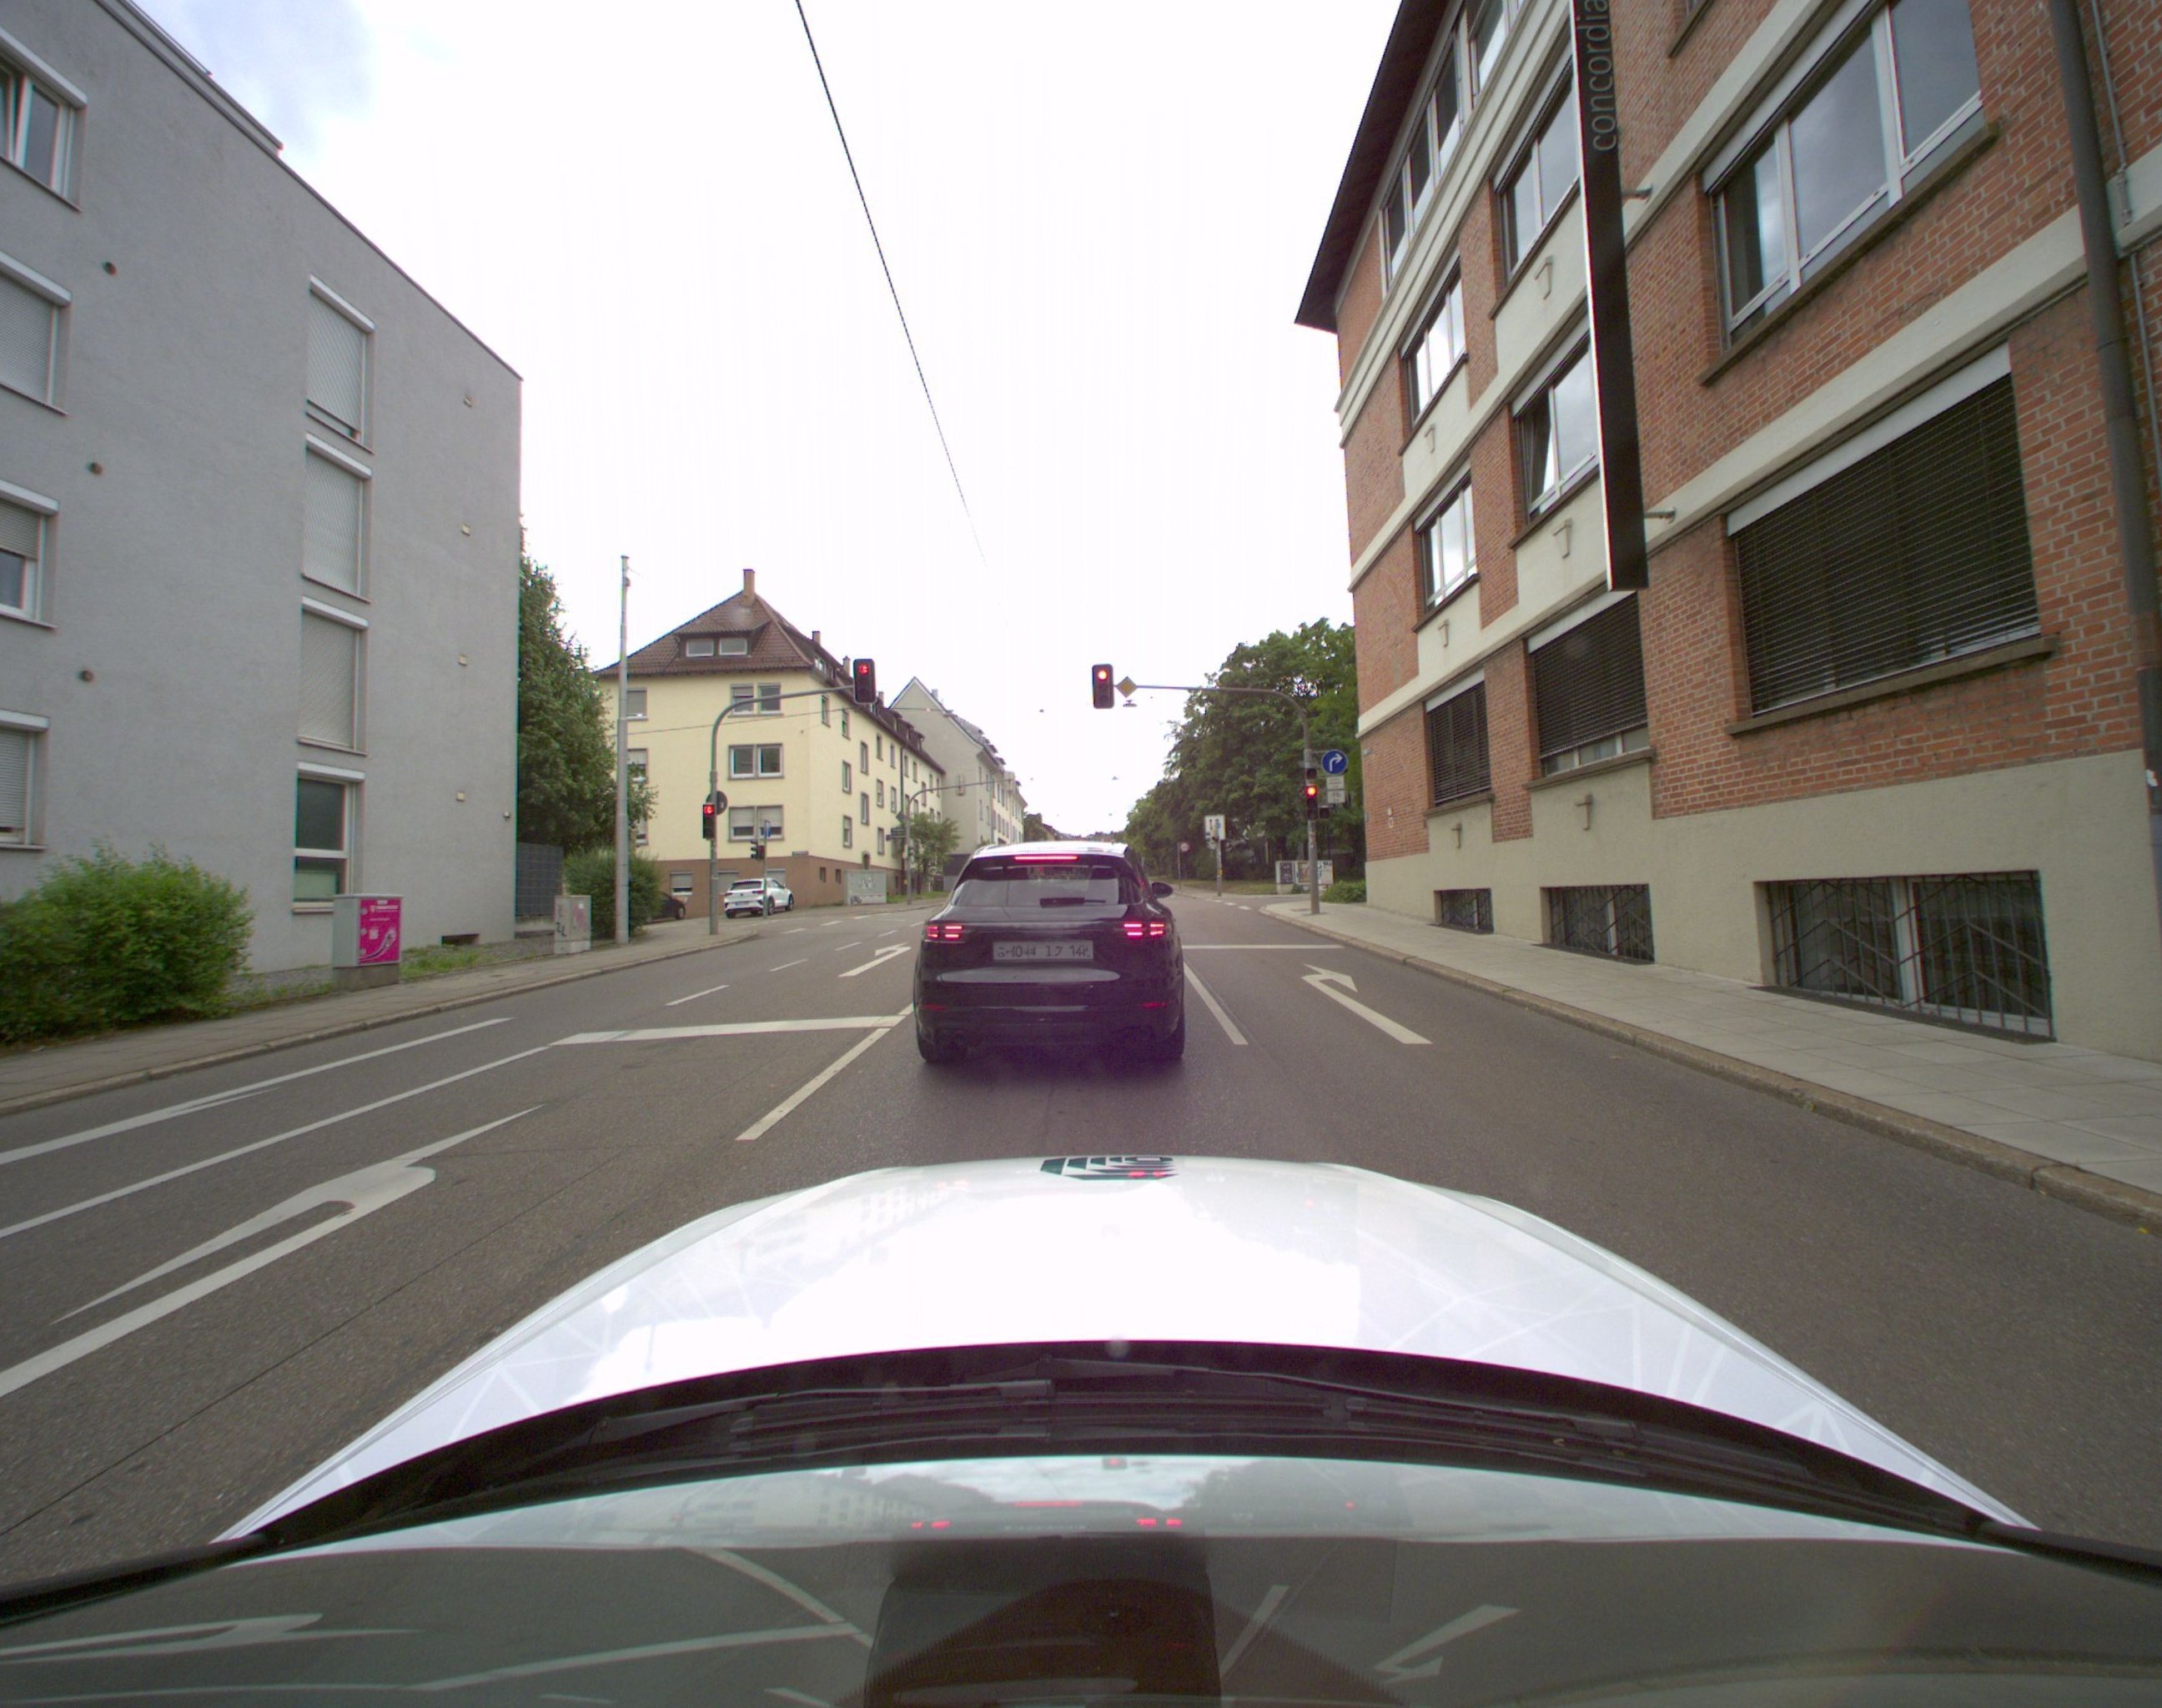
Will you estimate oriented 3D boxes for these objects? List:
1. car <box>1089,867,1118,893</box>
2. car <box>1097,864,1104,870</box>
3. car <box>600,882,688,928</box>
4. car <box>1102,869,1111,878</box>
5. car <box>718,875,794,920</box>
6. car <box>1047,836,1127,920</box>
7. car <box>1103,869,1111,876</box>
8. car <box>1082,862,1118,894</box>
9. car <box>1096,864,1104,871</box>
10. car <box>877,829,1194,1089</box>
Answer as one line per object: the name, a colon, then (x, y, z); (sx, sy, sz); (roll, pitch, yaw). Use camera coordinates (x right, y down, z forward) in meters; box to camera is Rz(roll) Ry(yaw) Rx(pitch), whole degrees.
car: (1.470, 1.651, 52.643); (1.820, 1.605, 3.860); (0, 0, 2)
car: (5.129, 3.305, 210.380); (1.820, 1.605, 4.137); (0, 0, 2)
car: (-18.499, 2.133, 34.651); (1.686, 1.608, 3.763); (-4, 0, -2)
car: (5.068, 3.923, 163.369); (1.820, 1.605, 4.137); (0, 0, 2)
car: (-13.532, 1.769, 34.095); (1.686, 1.555, 3.763); (-4, 0, -2)
car: (0.221, 0.595, 22.027); (1.957, 2.042, 4.137); (0, 0, 2)
car: (5.910, 4.159, 182.535); (1.820, 1.605, 4.137); (0, 0, 2)
car: (1.053, 1.270, 43.936); (1.820, 1.605, 4.137); (0, 0, 2)
car: (4.708, 3.328, 203.059); (1.820, 1.605, 4.137); (0, 0, 2)
car: (-0.216, 0.676, 7.377); (2.040, 1.666, 4.269); (0, 0, 2)
